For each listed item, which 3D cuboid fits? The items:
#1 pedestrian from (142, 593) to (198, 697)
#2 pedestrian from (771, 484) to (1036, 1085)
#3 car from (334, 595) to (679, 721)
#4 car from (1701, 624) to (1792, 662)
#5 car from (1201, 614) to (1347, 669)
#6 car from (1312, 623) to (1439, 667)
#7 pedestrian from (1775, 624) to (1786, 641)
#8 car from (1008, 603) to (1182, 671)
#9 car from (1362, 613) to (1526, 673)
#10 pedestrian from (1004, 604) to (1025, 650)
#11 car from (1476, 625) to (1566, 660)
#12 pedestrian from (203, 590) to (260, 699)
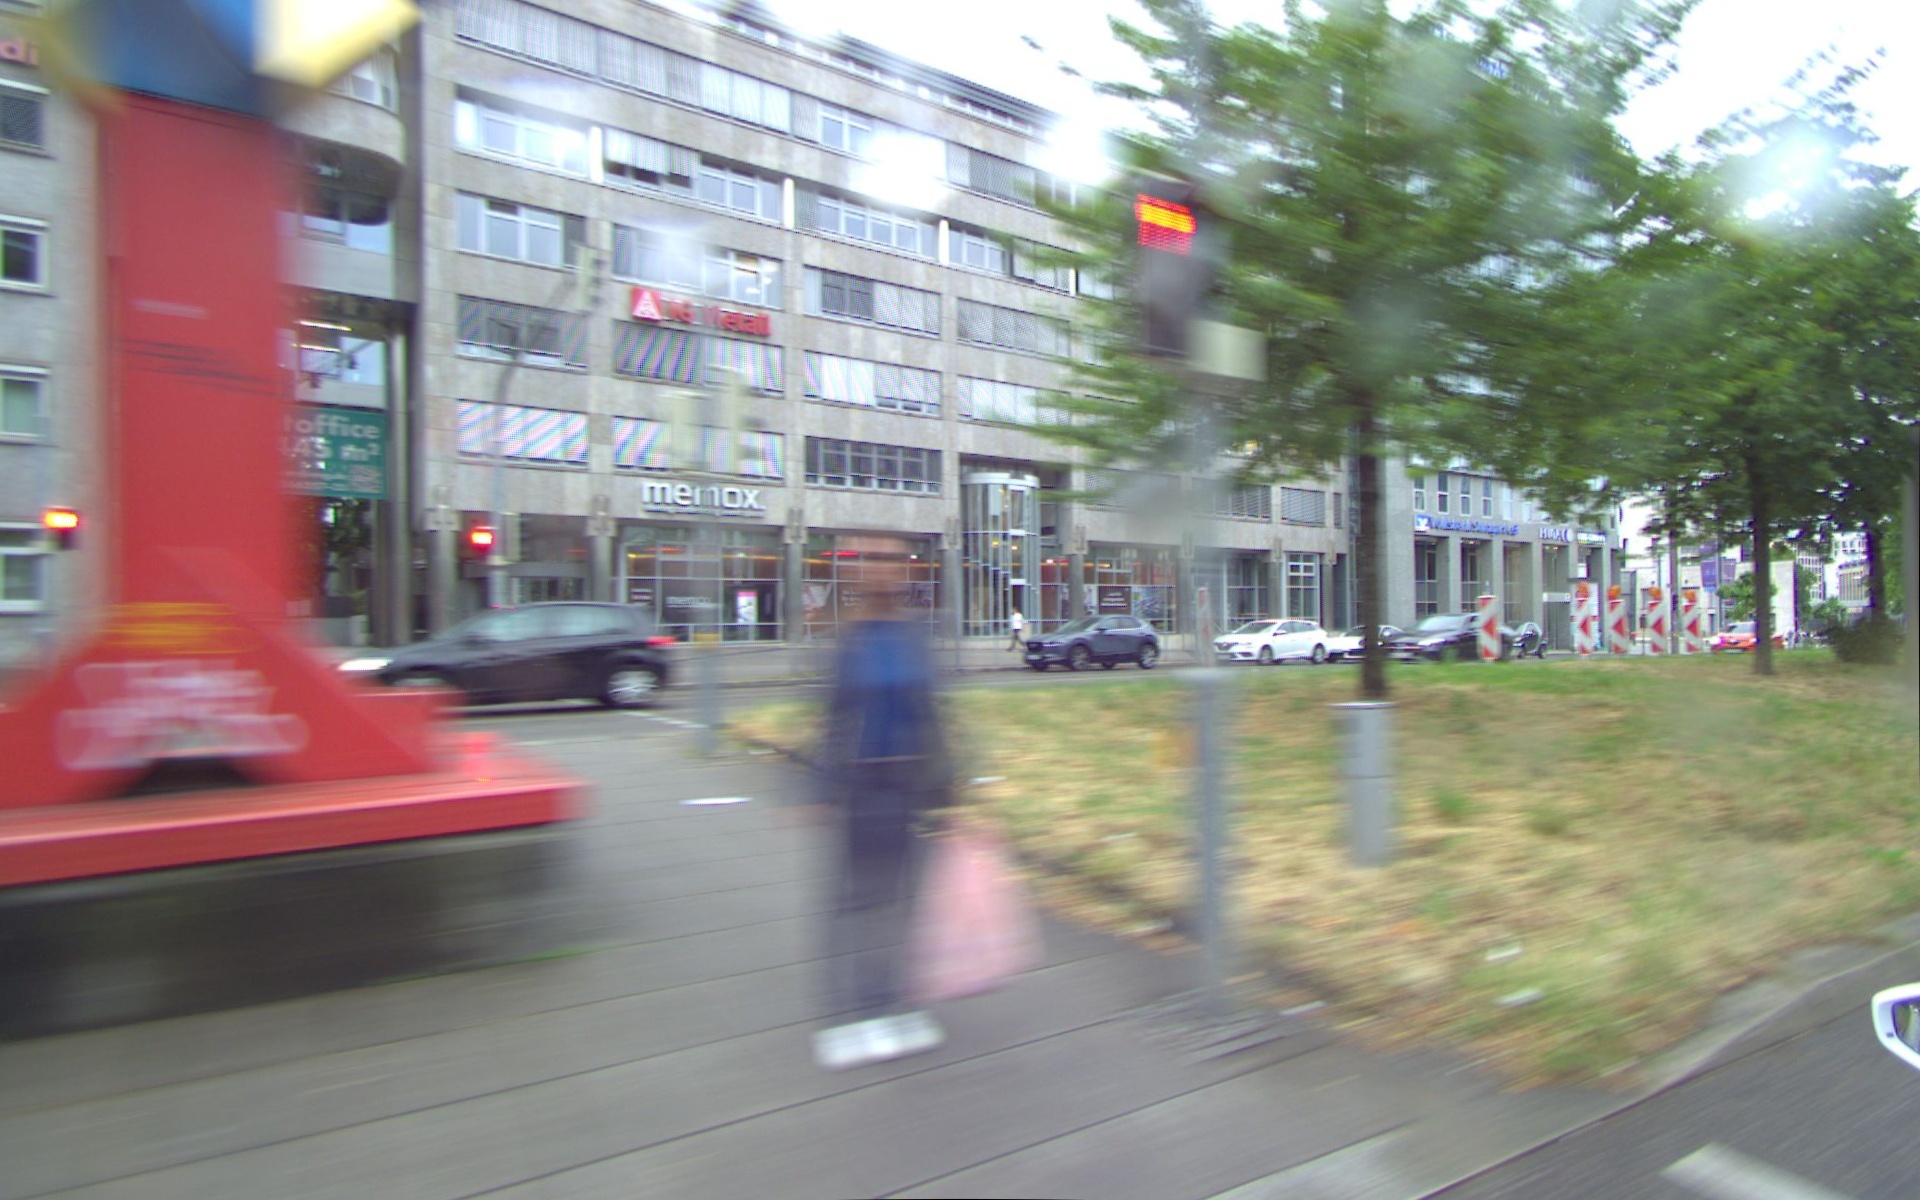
[{"bbox_3d":[-12.953,0.725,16.477,0.612,1.651,0.603,0,-1,-28],"label":"pedestrian"},{"bbox_3d":[-0.191,0.530,3.264,0.712,1.708,0.525,0,-1,-28],"label":"pedestrian"},{"bbox_3d":[-5.944,0.723,13.291,3.957,1.433,1.780,1,-3,-33],"label":"car"},{"bbox_3d":[31.823,1.727,40.629,4.093,1.448,1.849,1,-2,-36],"label":"car"},{"bbox_3d":[10.099,1.302,32.151,4.859,1.643,1.766,1,-1,-32],"label":"car"},{"bbox_3d":[14.598,1.541,35.191,4.632,1.420,1.766,1,-2,-32],"label":"car"},{"bbox_3d":[97.483,3.882,119.286,0.776,2.040,0.740,1,0,18],"label":"pedestrian"},{"bbox_3d":[3.804,1.005,27.951,4.739,1.748,1.851,1,-1,-32],"label":"car"},{"bbox_3d":[12.634,1.082,26.150,4.519,1.448,1.850,1,-2,-35],"label":"car"},{"bbox_3d":[2.154,1.073,39.980,0.523,1.811,0.715,0,-1,-31],"label":"pedestrian"},{"bbox_3d":[23.975,1.795,42.897,3.975,1.420,1.765,1,-2,-35],"label":"car"},{"bbox_3d":[-12.400,0.750,17.119,0.712,1.811,0.525,0,-1,-28],"label":"pedestrian"}]
